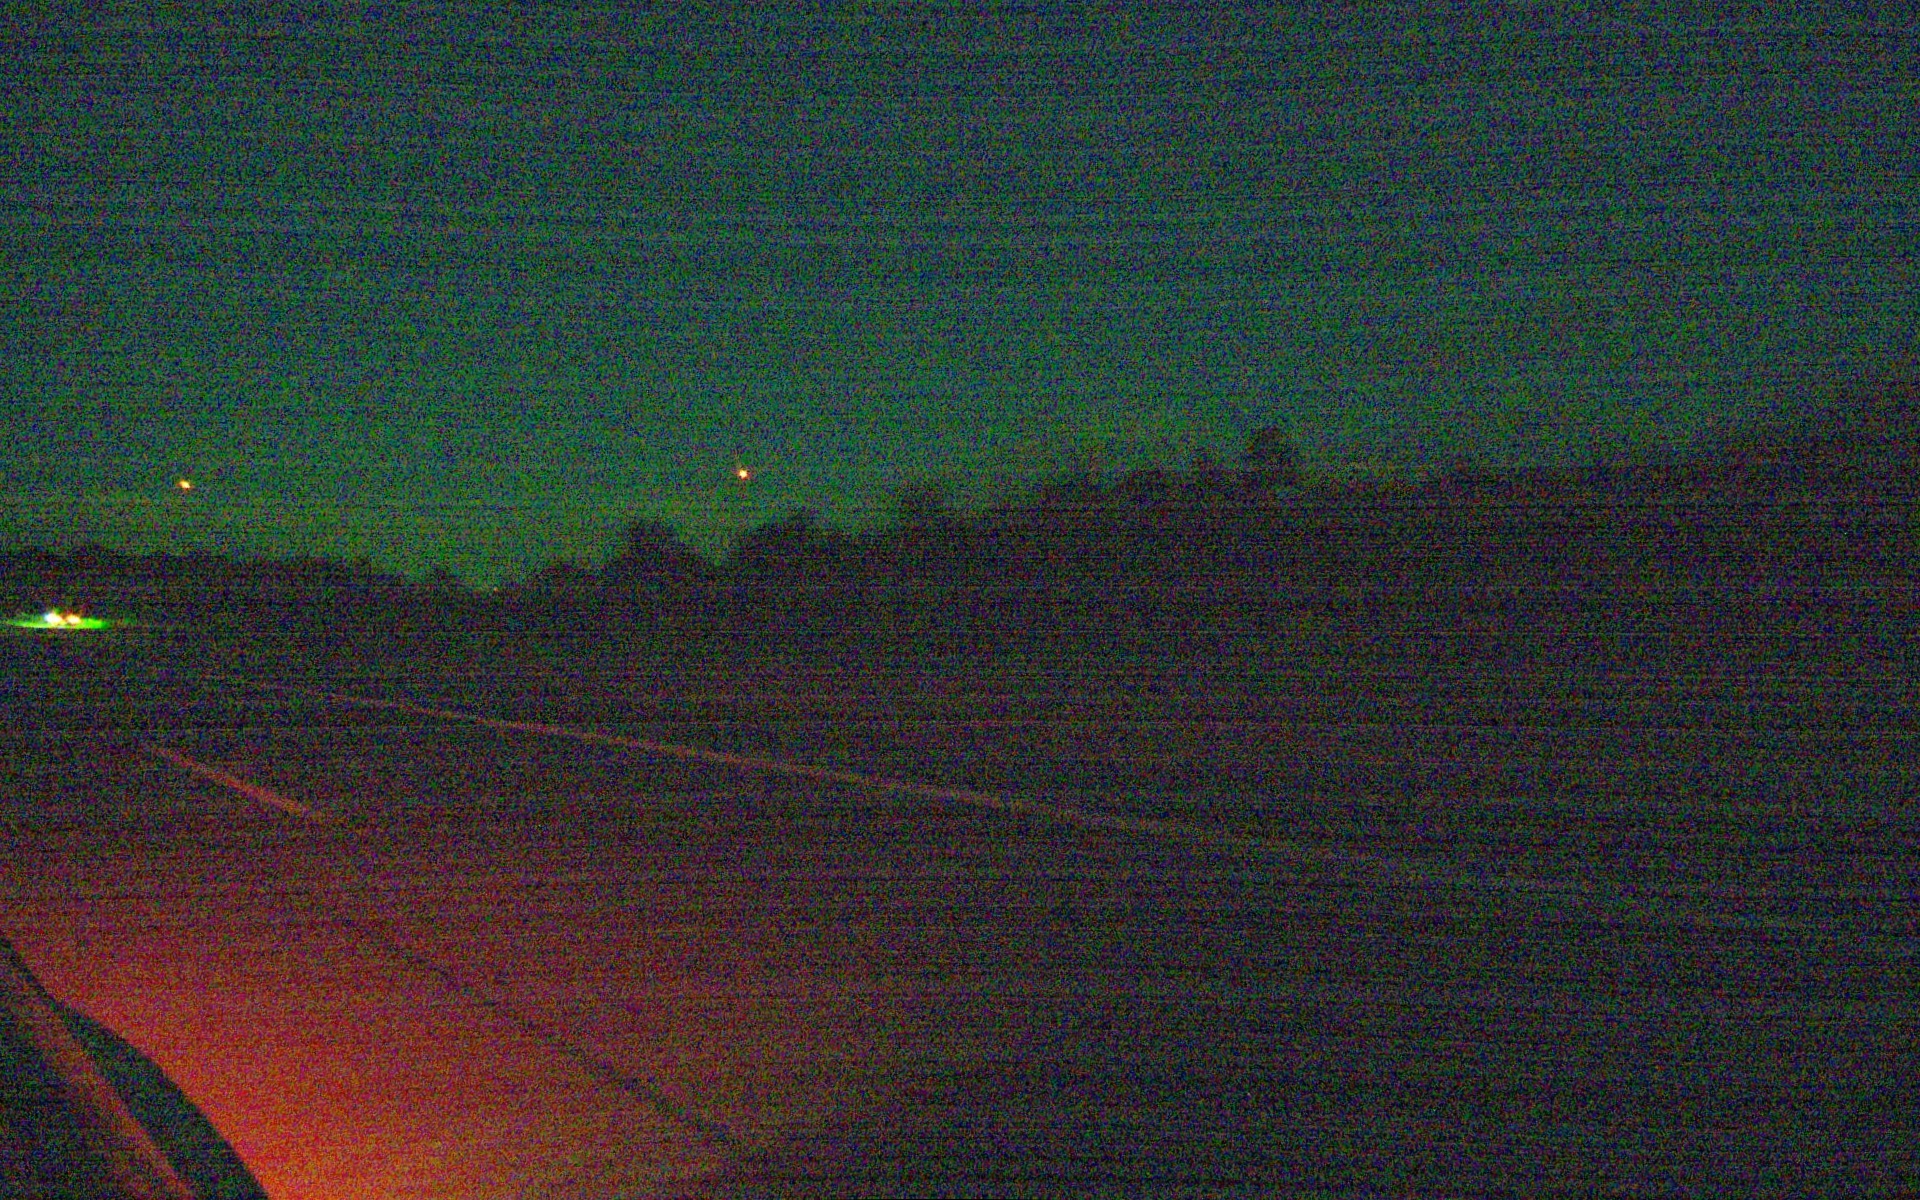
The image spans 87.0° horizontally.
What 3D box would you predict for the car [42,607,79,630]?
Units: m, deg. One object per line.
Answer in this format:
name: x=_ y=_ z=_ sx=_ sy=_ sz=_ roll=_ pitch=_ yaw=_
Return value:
car: x=-118.464 y=2.397 z=133.256 sx=6.599 sy=2.959 sz=2.816 roll=0 pitch=0 yaw=41
